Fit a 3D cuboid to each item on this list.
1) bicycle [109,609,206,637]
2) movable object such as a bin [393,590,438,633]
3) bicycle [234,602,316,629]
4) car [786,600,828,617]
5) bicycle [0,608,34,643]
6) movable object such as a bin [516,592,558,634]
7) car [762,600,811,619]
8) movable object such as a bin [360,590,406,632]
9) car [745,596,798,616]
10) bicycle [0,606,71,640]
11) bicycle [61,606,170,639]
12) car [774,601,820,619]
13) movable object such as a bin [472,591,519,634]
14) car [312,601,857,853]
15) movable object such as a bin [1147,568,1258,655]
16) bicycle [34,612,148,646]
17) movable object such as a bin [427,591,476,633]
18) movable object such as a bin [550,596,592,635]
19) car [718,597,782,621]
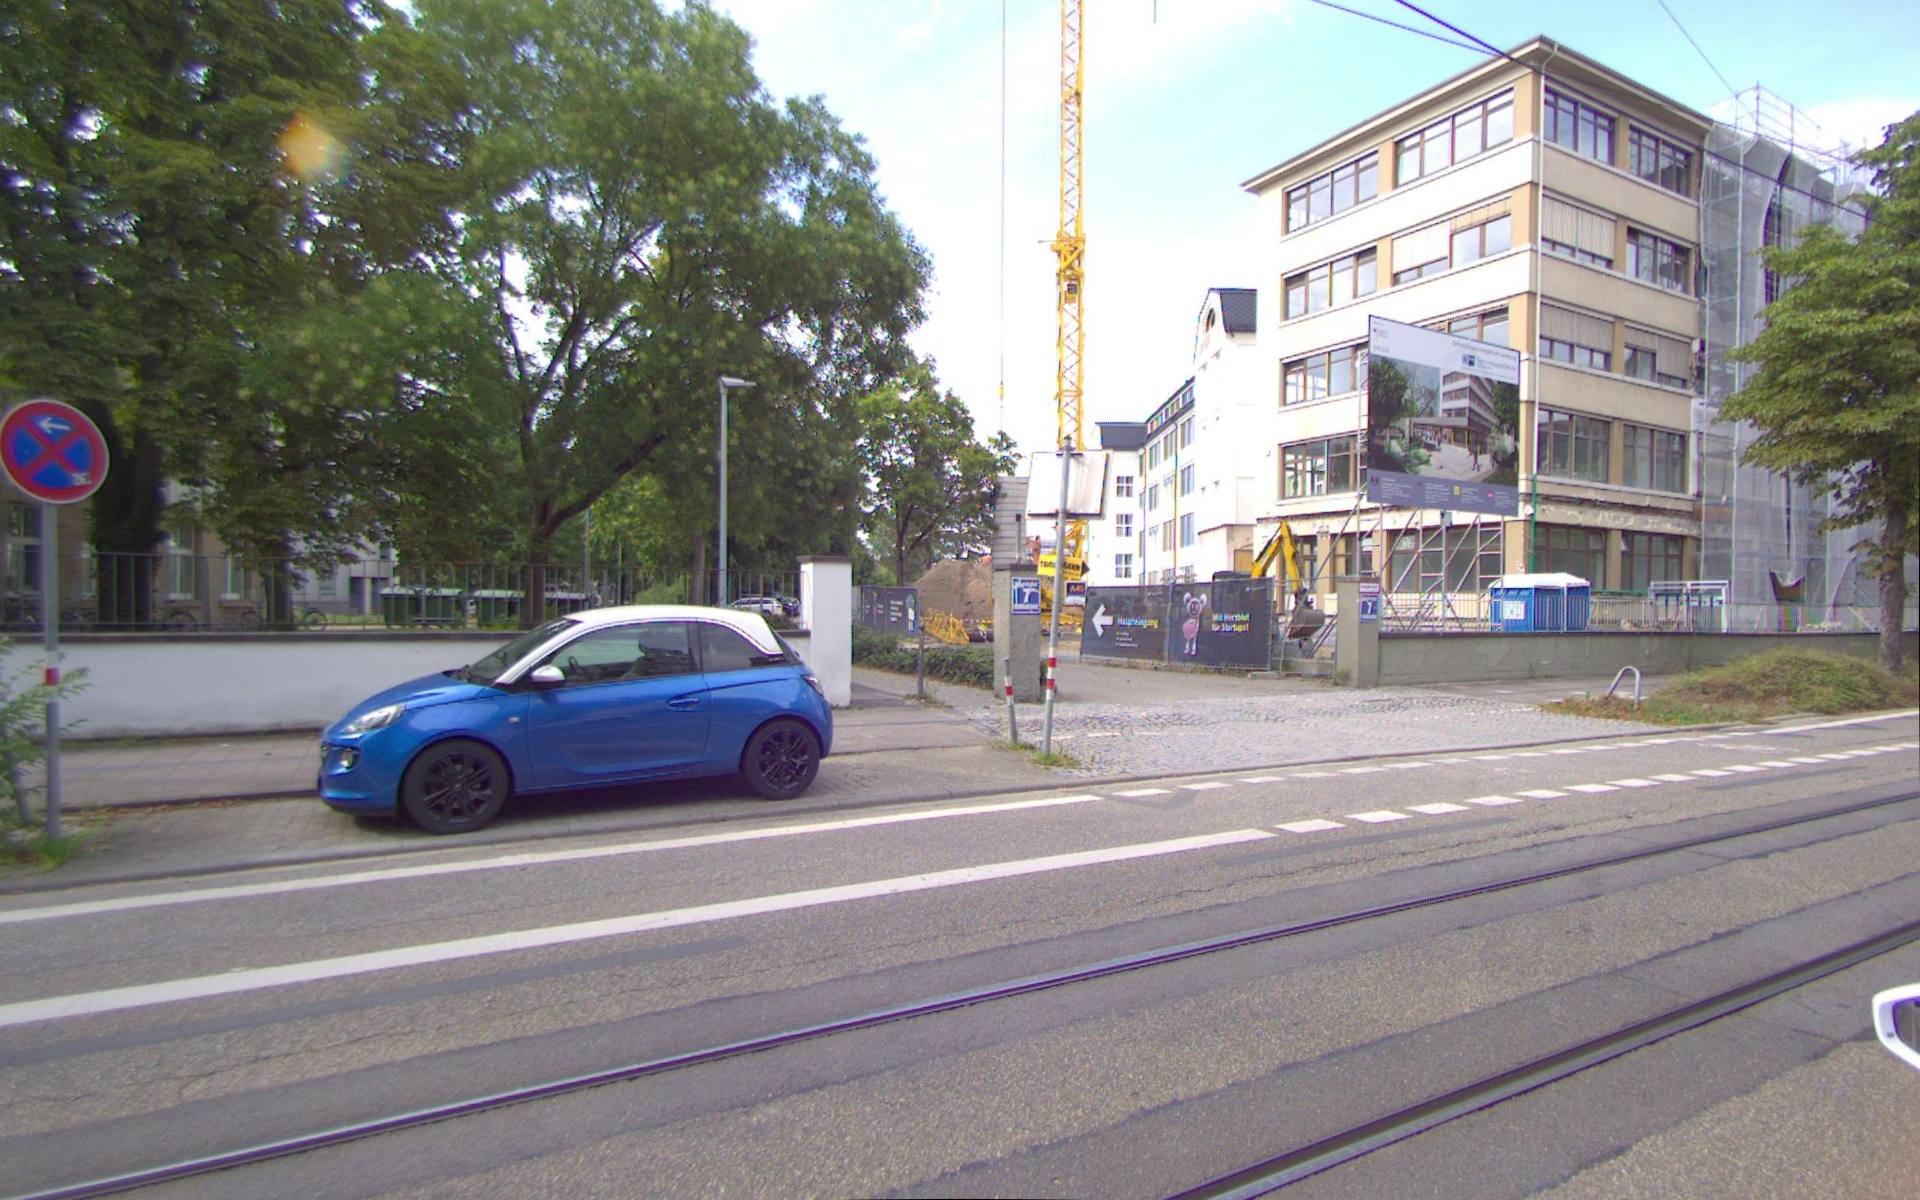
[{"bbox_3d":[-21.701,0.602,27.215,2.028,0.718,0.707,0,1,-37],"label":"bicycle"},{"bbox_3d":[-18.338,0.373,33.831,1.001,1.393,0.970,1,1,-3],"label":"movable object such as a bin"},{"bbox_3d":[-21.425,0.483,31.446,2.010,0.783,0.713,1,1,-10],"label":"bicycle"},{"bbox_3d":[-14.528,0.785,95.372,3.927,1.518,1.911,1,0,-9],"label":"car"},{"bbox_3d":[-21.051,0.525,21.302,2.010,0.718,0.713,1,1,-10],"label":"bicycle"},{"bbox_3d":[-14.274,0.438,33.920,1.073,1.393,0.861,1,1,-3],"label":"movable object such as a bin"},{"bbox_3d":[-14.250,0.806,82.800,3.927,1.518,1.911,1,0,-9],"label":"car"},{"bbox_3d":[-19.407,0.357,33.795,1.001,1.393,0.970,1,1,-3],"label":"movable object such as a bin"},{"bbox_3d":[-14.291,0.444,76.333,3.927,1.518,1.911,1,0,-9],"label":"car"},{"bbox_3d":[-21.103,0.511,22.257,2.010,0.718,0.713,1,1,-10],"label":"bicycle"},{"bbox_3d":[-21.378,0.568,25.466,2.010,0.783,0.713,1,1,-10],"label":"bicycle"},{"bbox_3d":[-14.410,0.885,89.002,3.927,1.518,1.911,1,0,-9],"label":"car"},{"bbox_3d":[-15.696,0.414,33.966,1.180,1.393,0.861,1,1,-3],"label":"movable object such as a bin"},{"bbox_3d":[-2.810,0.797,7.801,3.634,1.507,1.685,1,1,-30],"label":"car"},{"bbox_3d":[6.167,0.284,25.675,1.935,2.095,1.979,1,0,-27],"label":"movable object such as a bin"},{"bbox_3d":[-21.186,0.700,24.527,2.010,0.783,0.713,1,1,-10],"label":"bicycle"},{"bbox_3d":[-17.116,0.393,33.835,1.180,1.393,0.970,1,1,-3],"label":"movable object such as a bin"},{"bbox_3d":[-13.038,0.512,33.702,1.073,1.290,0.861,1,1,-3],"label":"movable object such as a bin"},{"bbox_3d":[-13.556,0.581,64.927,3.927,1.518,1.911,1,0,-9],"label":"car"}]
